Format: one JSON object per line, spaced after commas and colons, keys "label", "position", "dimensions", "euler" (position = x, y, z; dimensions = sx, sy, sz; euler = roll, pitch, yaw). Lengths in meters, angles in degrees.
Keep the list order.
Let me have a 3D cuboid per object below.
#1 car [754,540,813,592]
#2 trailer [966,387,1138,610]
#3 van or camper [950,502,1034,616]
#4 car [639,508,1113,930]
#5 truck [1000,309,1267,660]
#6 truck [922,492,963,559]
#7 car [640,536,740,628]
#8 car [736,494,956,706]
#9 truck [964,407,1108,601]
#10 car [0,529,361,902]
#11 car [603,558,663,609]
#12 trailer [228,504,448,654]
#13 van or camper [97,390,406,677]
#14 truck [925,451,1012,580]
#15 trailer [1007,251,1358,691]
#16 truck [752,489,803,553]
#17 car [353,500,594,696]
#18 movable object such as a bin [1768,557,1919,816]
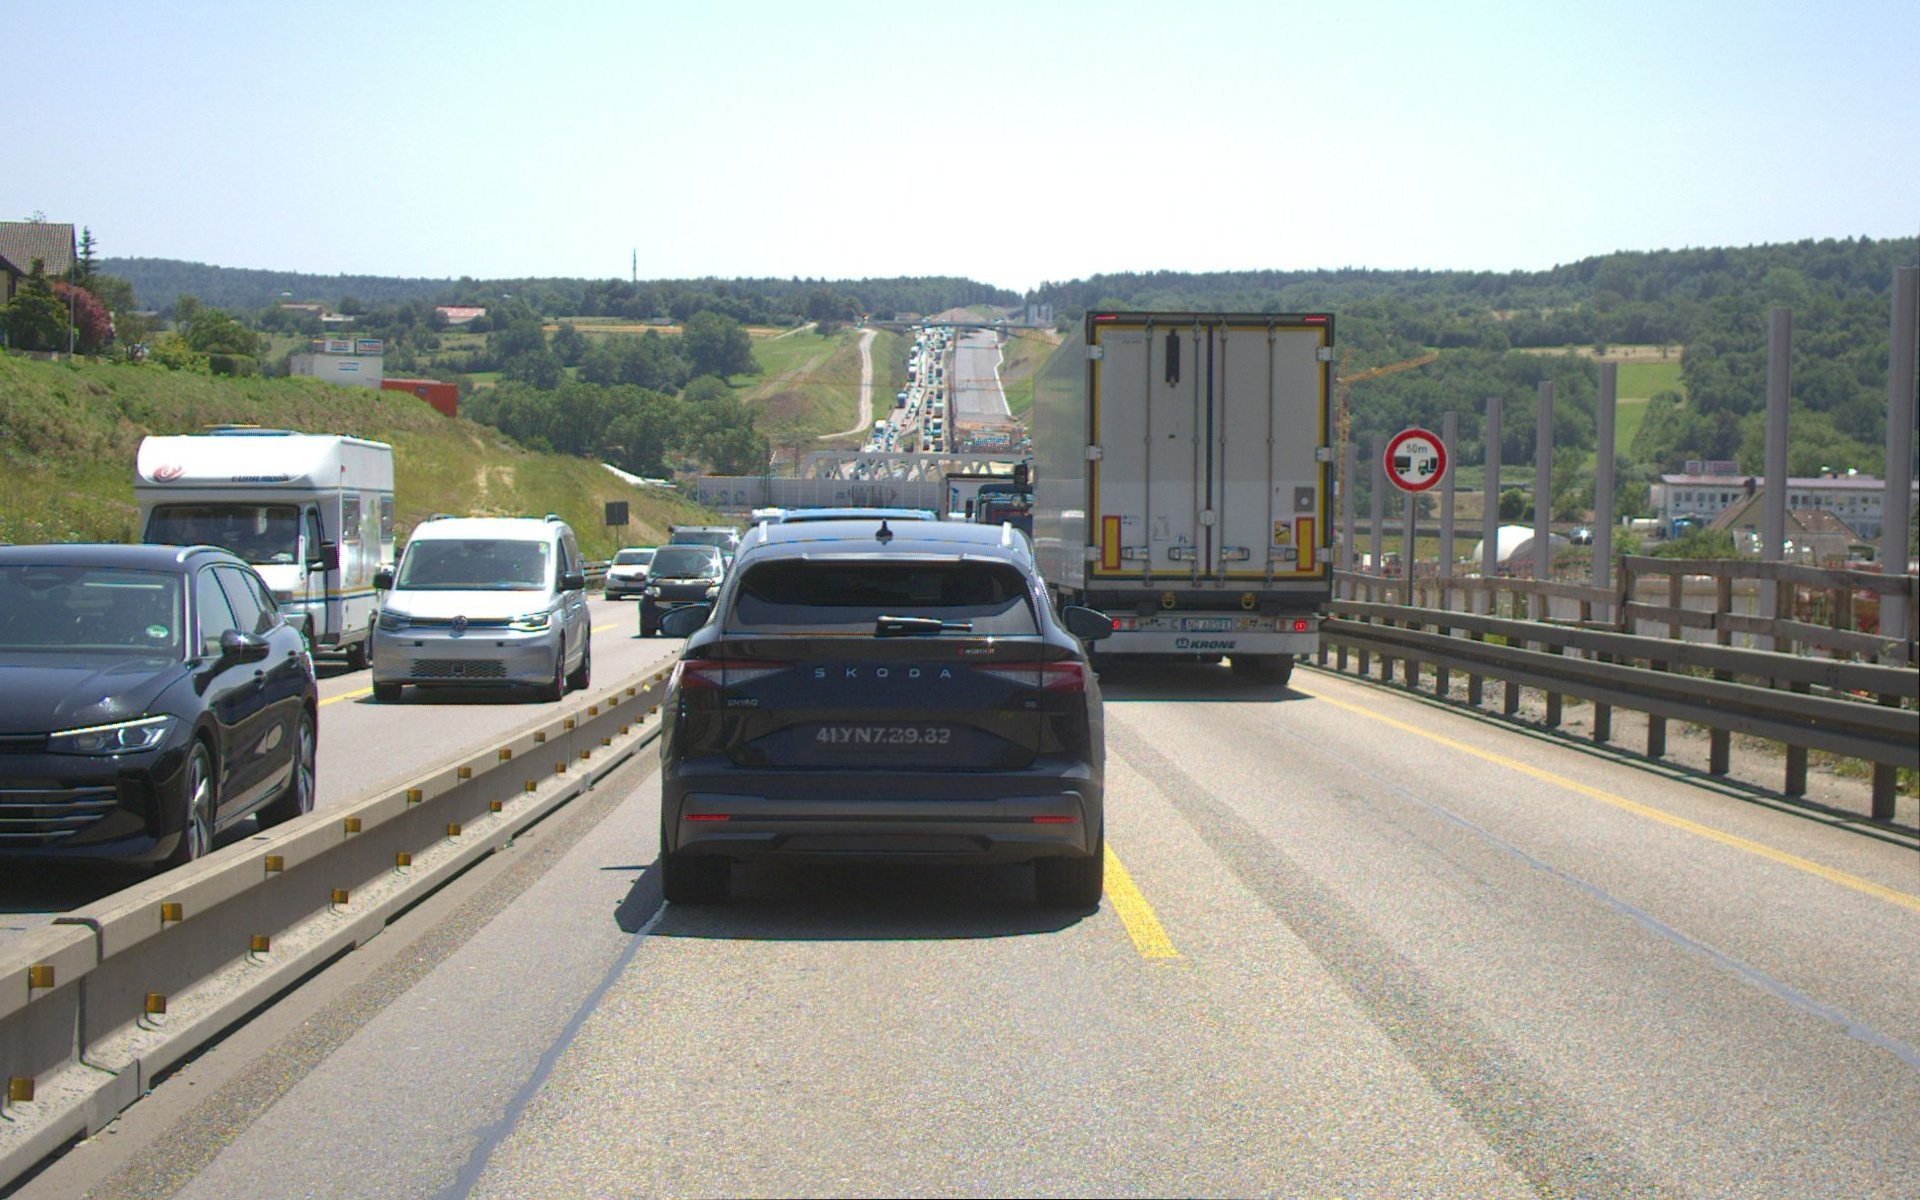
{"label": "car", "position": [-5.659, -1.105, 110.814], "dimensions": [1.806, 1.634, 4.173], "euler": [0, 1, -2]}
{"label": "trailer", "position": [1.888, -2.042, 77.300], "dimensions": [3.180, 4.498, 14.967], "euler": [0, 0, -1]}
{"label": "van or camper", "position": [0.992, -1.155, 102.097], "dimensions": [2.389, 3.269, 6.468], "euler": [0, 0, 1]}
{"label": "car", "position": [-0.331, 0.442, 15.155], "dimensions": [1.802, 1.602, 4.000], "euler": [0, 0, 0]}
{"label": "truck", "position": [2.282, -1.575, 48.409], "dimensions": [3.180, 4.497, 8.166], "euler": [0, 1, -1]}
{"label": "truck", "position": [-1.176, -4.873, 226.733], "dimensions": [2.639, 4.179, 9.284], "euler": [0, 0, -1]}
{"label": "car", "position": [-4.513, -0.320, 57.736], "dimensions": [1.483, 1.500, 2.805], "euler": [0, 1, -1]}
{"label": "car", "position": [-1.091, 0.002, 33.654], "dimensions": [1.993, 1.919, 4.508], "euler": [0, 0, -1]}
{"label": "truck", "position": [1.786, -2.238, 84.498], "dimensions": [3.180, 4.498, 8.166], "euler": [0, 0, -1]}
{"label": "car", "position": [-4.092, 0.415, 16.003], "dimensions": [1.842, 1.470, 4.835], "euler": [0, 1, -1]}
{"label": "car", "position": [-9.211, -0.443, 97.051], "dimensions": [1.558, 1.397, 3.467], "euler": [0, 0, -4]}
{"label": "trailer", "position": [-8.290, -0.305, 46.272], "dimensions": [2.101, 1.887, 5.141], "euler": [1, 1, -1]}
{"label": "van or camper", "position": [-8.158, -0.767, 40.349], "dimensions": [2.291, 3.056, 6.924], "euler": [1, 1, -1]}
{"label": "truck", "position": [0.243, -3.014, 127.271], "dimensions": [2.852, 4.450, 11.918], "euler": [0, 0, -1]}
{"label": "trailer", "position": [2.379, -1.475, 41.935], "dimensions": [3.180, 4.497, 13.109], "euler": [0, 1, -1]}
{"label": "truck", "position": [-10.747, -4.641, 202.687], "dimensions": [2.779, 3.660, 6.278], "euler": [0, 1, -1]}
{"label": "car", "position": [-4.808, -0.060, 34.633], "dimensions": [1.837, 1.821, 5.041], "euler": [0, 1, -2]}
{"label": "movable object such as a bin", "position": [18.743, 1.606, 67.630], "dimensions": [3.227, 4.727, 9.656], "euler": [0, 0, -1]}
